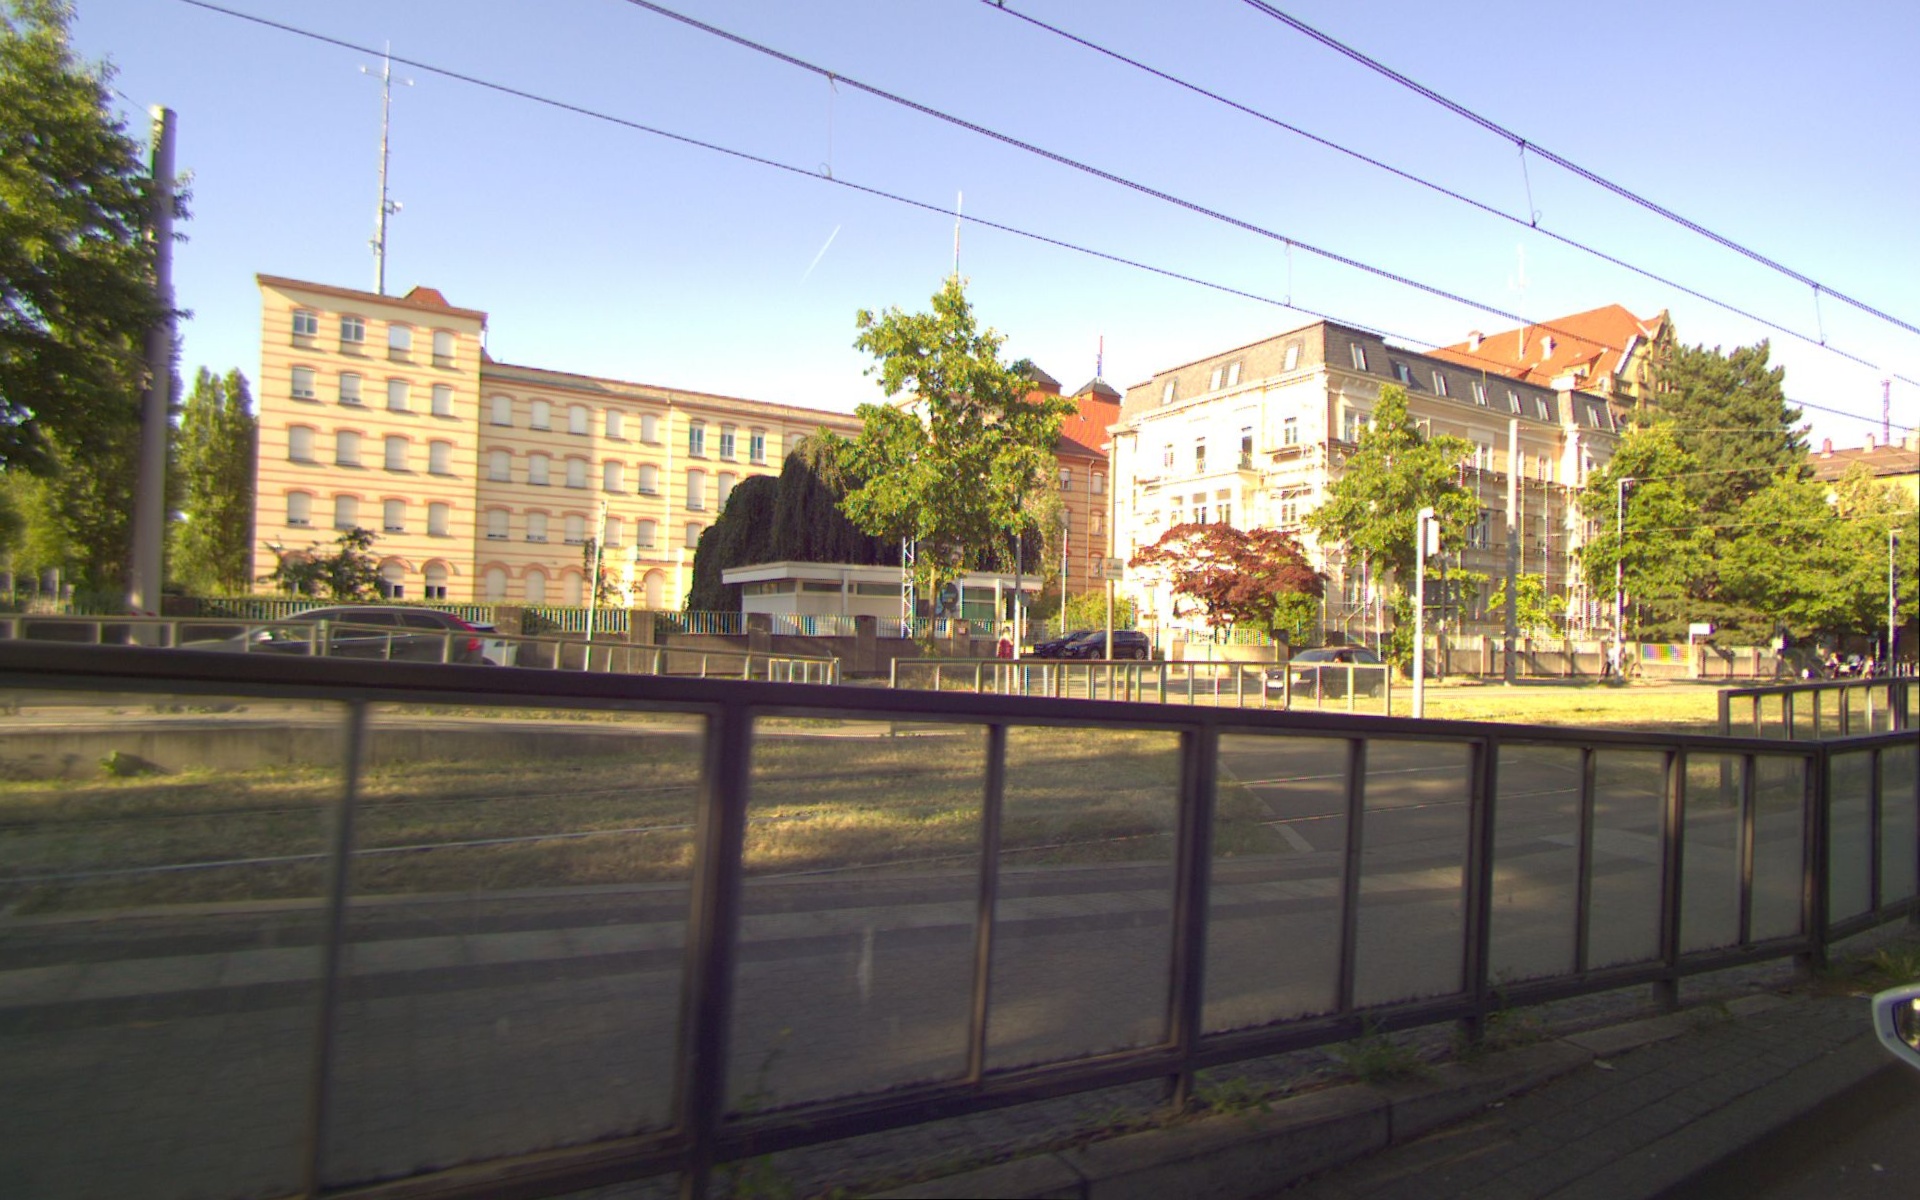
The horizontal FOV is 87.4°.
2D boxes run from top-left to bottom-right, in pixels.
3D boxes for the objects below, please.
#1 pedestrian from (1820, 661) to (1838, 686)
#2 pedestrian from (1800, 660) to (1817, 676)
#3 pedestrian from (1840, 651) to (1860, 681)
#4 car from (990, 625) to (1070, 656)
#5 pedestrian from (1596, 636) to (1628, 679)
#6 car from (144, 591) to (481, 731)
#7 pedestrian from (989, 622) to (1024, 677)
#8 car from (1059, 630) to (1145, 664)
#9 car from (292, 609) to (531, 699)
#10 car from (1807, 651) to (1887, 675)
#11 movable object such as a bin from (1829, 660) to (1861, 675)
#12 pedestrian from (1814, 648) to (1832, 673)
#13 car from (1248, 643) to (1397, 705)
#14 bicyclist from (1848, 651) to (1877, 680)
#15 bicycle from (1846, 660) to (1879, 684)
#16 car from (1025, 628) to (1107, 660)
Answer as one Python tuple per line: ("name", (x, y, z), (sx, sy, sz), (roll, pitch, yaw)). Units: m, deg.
("pedestrian", (56.357, 4.766, 65.141), (0.789, 1.614, 0.614), (2, 0, -32))
("pedestrian", (49.922, 4.016, 59.114), (0.579, 0.944, 0.646), (3, -3, -34))
("pedestrian", (54.056, 4.000, 60.991), (0.878, 1.798, 0.646), (3, -3, -32))
("car", (3.584, 2.094, 51.289), (3.807, 1.426, 1.598), (3, 0, -31))
("pedestrian", (30.240, 2.656, 46.568), (1.074, 1.953, 0.853), (3, -3, -32))
("car", (-9.493, 0.884, 15.112), (3.979, 1.830, 1.856), (3, 0, -29))
("pedestrian", (1.428, 1.533, 31.019), (0.805, 1.669, 0.719), (3, -3, -37))
("car", (6.662, 2.224, 47.032), (3.807, 1.426, 1.598), (3, 0, -31))
("car", (-10.881, 1.087, 20.211), (4.012, 1.607, 1.715), (3, 0, -27))
("car", (64.071, 4.515, 72.648), (1.961, 1.491, 4.192), (3, -1, -1))
("movable object such as a bin", (57.521, 4.404, 65.281), (1.223, 0.876, 1.238), (3, 0, -32))
("pedestrian", (53.855, 3.755, 62.709), (0.774, 1.559, 0.646), (3, -3, -32))
("car", (9.478, 1.919, 26.201), (3.807, 1.426, 1.598), (3, 0, -31))
("bicyclist", (47.740, 3.464, 53.135), (1.121, 1.501, 0.771), (2, 0, -31))
("bicycle", (47.789, 3.809, 53.181), (1.735, 1.209, 0.771), (3, 0, -31))
("car", (5.241, 2.165, 49.448), (3.807, 1.426, 1.598), (3, 0, -31))
